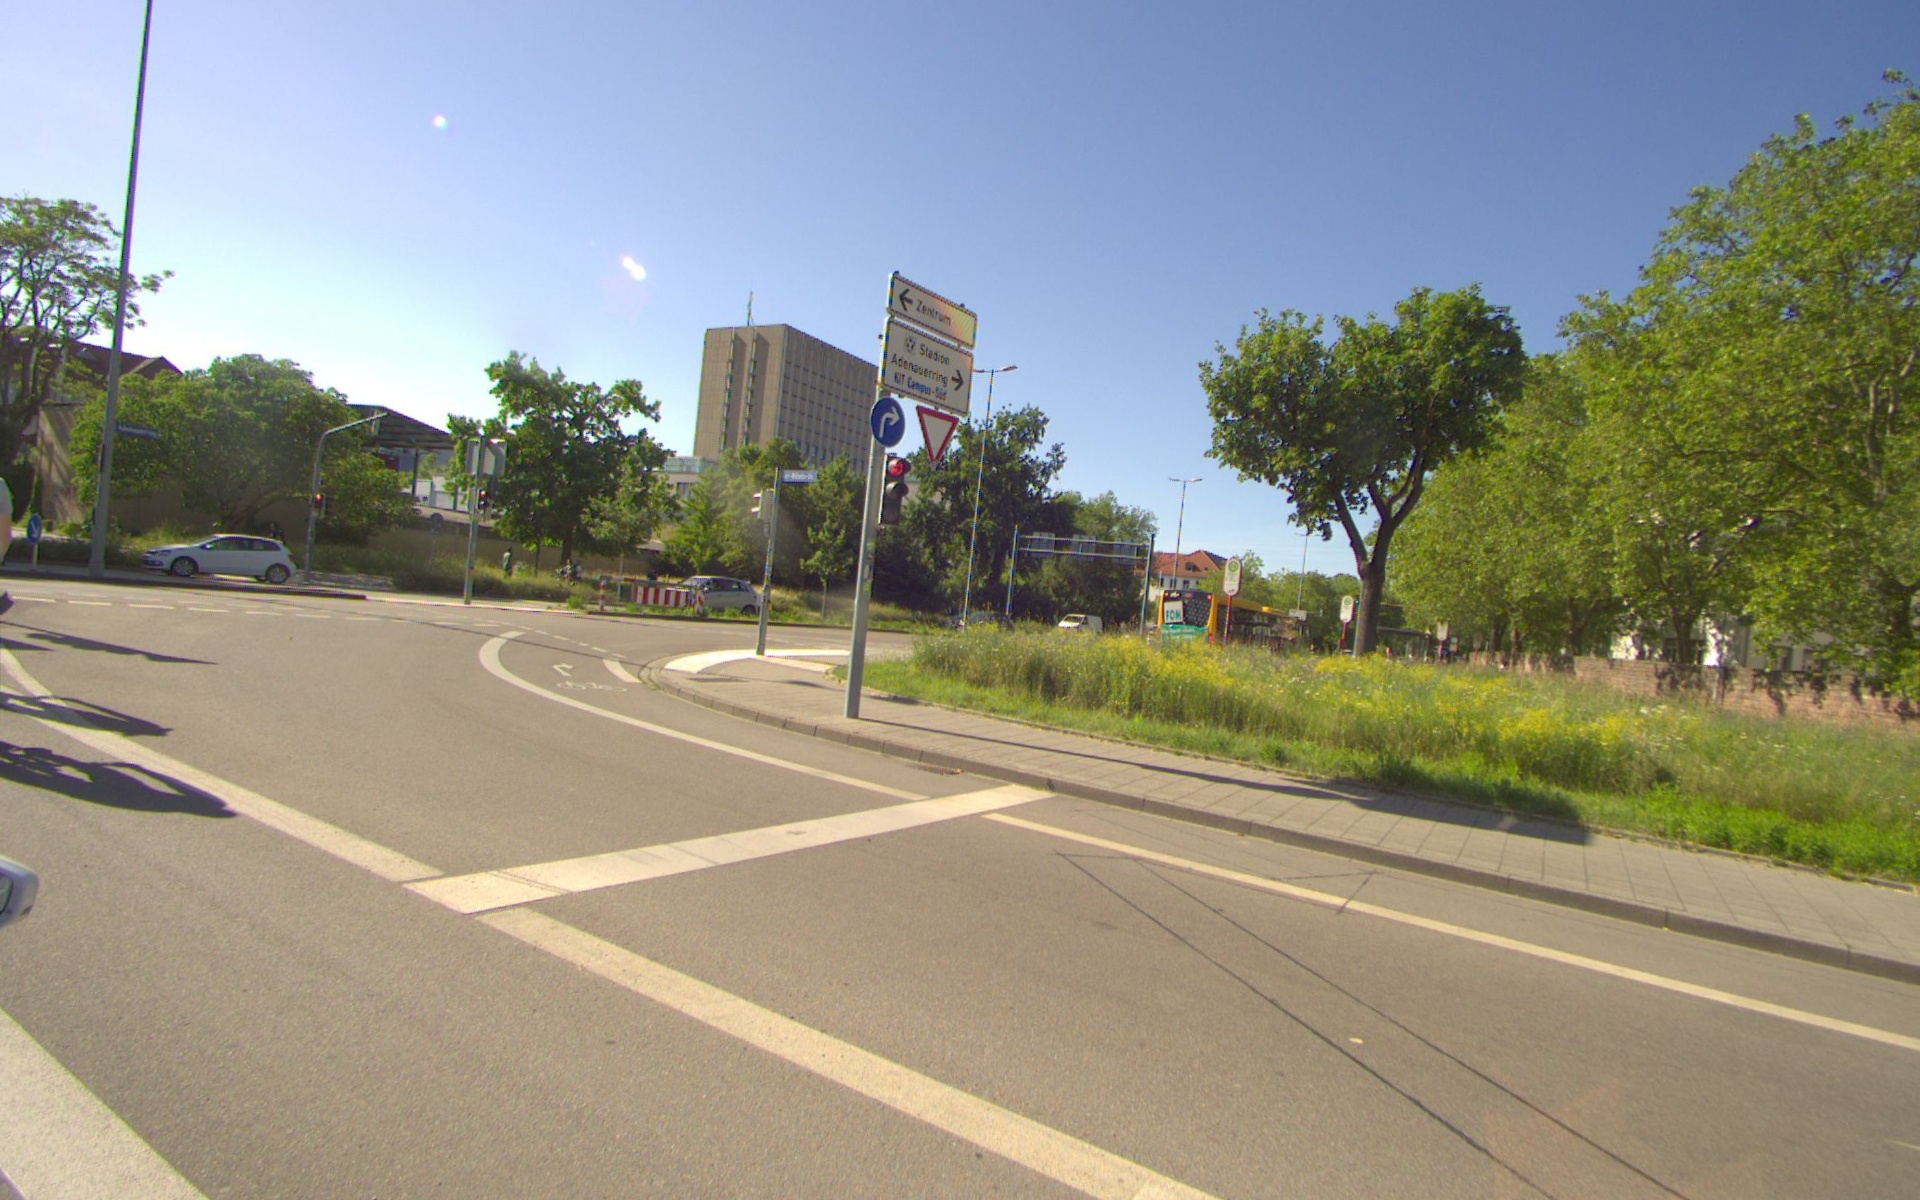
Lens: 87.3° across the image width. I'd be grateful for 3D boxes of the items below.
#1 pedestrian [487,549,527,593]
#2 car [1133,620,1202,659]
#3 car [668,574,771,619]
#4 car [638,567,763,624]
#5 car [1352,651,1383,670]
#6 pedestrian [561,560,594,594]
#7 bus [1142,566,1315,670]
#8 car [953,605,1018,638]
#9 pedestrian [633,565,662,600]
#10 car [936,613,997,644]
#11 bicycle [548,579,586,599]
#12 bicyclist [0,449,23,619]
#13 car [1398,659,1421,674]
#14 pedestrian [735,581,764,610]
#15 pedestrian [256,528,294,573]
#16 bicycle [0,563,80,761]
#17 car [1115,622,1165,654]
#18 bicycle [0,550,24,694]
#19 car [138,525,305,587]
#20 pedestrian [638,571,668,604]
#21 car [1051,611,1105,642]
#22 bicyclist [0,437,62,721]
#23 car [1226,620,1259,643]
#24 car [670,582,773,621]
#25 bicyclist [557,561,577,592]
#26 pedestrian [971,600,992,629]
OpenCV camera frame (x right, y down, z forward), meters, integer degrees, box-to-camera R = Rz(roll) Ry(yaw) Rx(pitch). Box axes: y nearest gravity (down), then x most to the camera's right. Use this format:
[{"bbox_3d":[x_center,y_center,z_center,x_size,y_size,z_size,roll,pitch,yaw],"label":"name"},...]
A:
[{"bbox_3d":[-20.991,-1.351,46.603,0.953,1.879,1.294,7,1,43],"label":"pedestrian"},{"bbox_3d":[12.345,2.379,59.631,1.975,1.884,4.725,7,0,37],"label":"car"},{"bbox_3d":[-11.512,-0.149,48.355,1.970,1.625,4.502,7,0,37],"label":"car"},{"bbox_3d":[-9.584,-0.136,37.361,1.882,1.625,4.124,7,0,37],"label":"car"},{"bbox_3d":[35.291,5.225,87.055,1.730,1.390,3.992,7,0,31],"label":"car"},{"bbox_3d":[-18.835,-1.136,49.559,0.917,1.540,1.083,7,1,41],"label":"pedestrian"},{"bbox_3d":[12.599,1.028,45.840,3.199,3.614,12.426,8,0,35],"label":"bus"},{"bbox_3d":[1.595,1.321,61.737,1.968,1.625,4.127,7,0,35],"label":"car"},{"bbox_3d":[-16.792,-0.930,54.032,0.912,1.754,0.962,7,1,38],"label":"pedestrian"},{"bbox_3d":[0.452,1.884,66.169,1.892,1.625,4.072,7,0,35],"label":"car"},{"bbox_3d":[-18.412,-0.518,47.163,0.561,0.787,1.490,7,0,42],"label":"bicycle"},{"bbox_3d":[-7.935,-0.426,7.720,1.063,1.601,0.675,7,-1,31],"label":"bicyclist"},{"bbox_3d":[51.143,7.561,114.343,1.861,1.419,3.851,4,-3,31],"label":"car"},{"bbox_3d":[-12.223,-0.248,58.425,0.975,1.540,1.129,7,1,35],"label":"pedestrian"},{"bbox_3d":[-26.958,-1.952,39.605,0.979,1.625,0.816,6,1,-45],"label":"pedestrian"},{"bbox_3d":[-6.259,0.295,6.132,1.871,1.064,0.748,6,1,31],"label":"bicycle"},{"bbox_3d":[13.908,2.983,77.575,1.967,2.062,4.837,7,0,32],"label":"car"},{"bbox_3d":[-8.059,0.062,7.746,1.813,1.063,0.672,6,-1,31],"label":"bicycle"},{"bbox_3d":[-23.458,-1.366,32.040,1.787,1.509,3.947,4,-2,42],"label":"car"},{"bbox_3d":[-16.106,-0.653,52.810,0.865,1.540,1.074,7,1,36],"label":"pedestrian"},{"bbox_3d":[9.304,2.128,79.052,1.968,1.966,4.834,7,0,35],"label":"car"},{"bbox_3d":[-6.165,-0.167,6.100,0.851,1.695,0.741,7,1,30],"label":"bicyclist"},{"bbox_3d":[30.060,3.334,106.814,1.967,2.062,4.838,7,0,31],"label":"car"},{"bbox_3d":[-10.428,0.085,44.200,1.970,1.378,3.993,5,-1,37],"label":"car"},{"bbox_3d":[-18.405,-1.088,47.098,0.568,1.385,0.520,7,1,42],"label":"bicyclist"},{"bbox_3d":[1.665,1.152,77.971,0.966,2.106,1.186,7,1,35],"label":"pedestrian"}]
